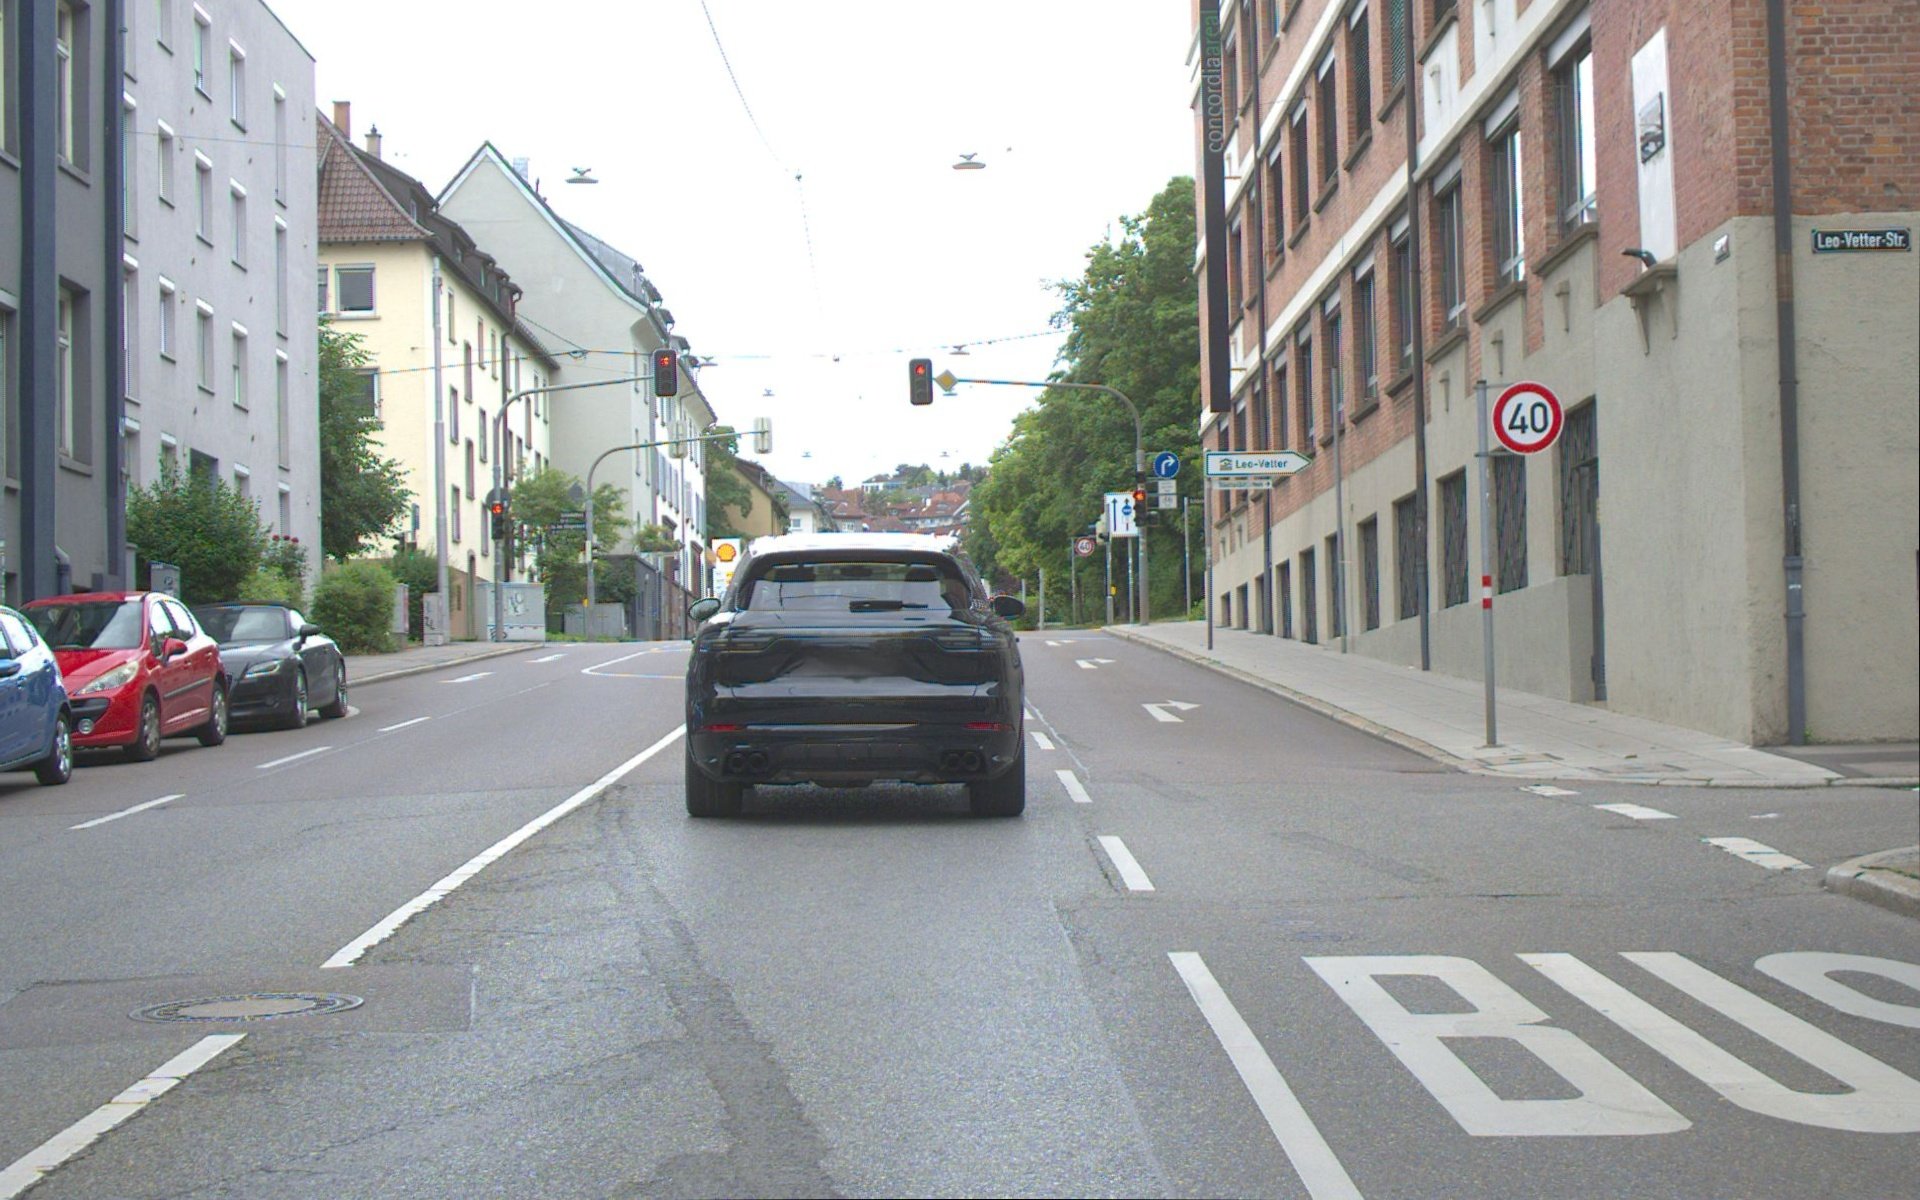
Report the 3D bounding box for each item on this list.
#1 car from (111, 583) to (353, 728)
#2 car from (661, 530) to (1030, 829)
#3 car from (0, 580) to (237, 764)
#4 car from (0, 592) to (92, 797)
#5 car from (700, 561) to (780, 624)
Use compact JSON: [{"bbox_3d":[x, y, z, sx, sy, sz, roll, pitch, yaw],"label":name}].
[{"bbox_3d":[-7.654,0.547,36.469,1.714,1.336,3.904,-3,1,-1],"label":"car"},{"bbox_3d":[-0.798,0.424,21.212,2.023,1.636,4.356,1,0,-4],"label":"car"},{"bbox_3d":[-7.798,0.603,30.734,1.714,1.451,3.989,-3,1,1],"label":"car"},{"bbox_3d":[-7.744,0.723,25.214,1.714,1.419,3.989,-3,1,-1],"label":"car"},{"bbox_3d":[-6.311,-0.236,99.031,1.898,1.686,4.000,-3,1,1],"label":"car"}]
